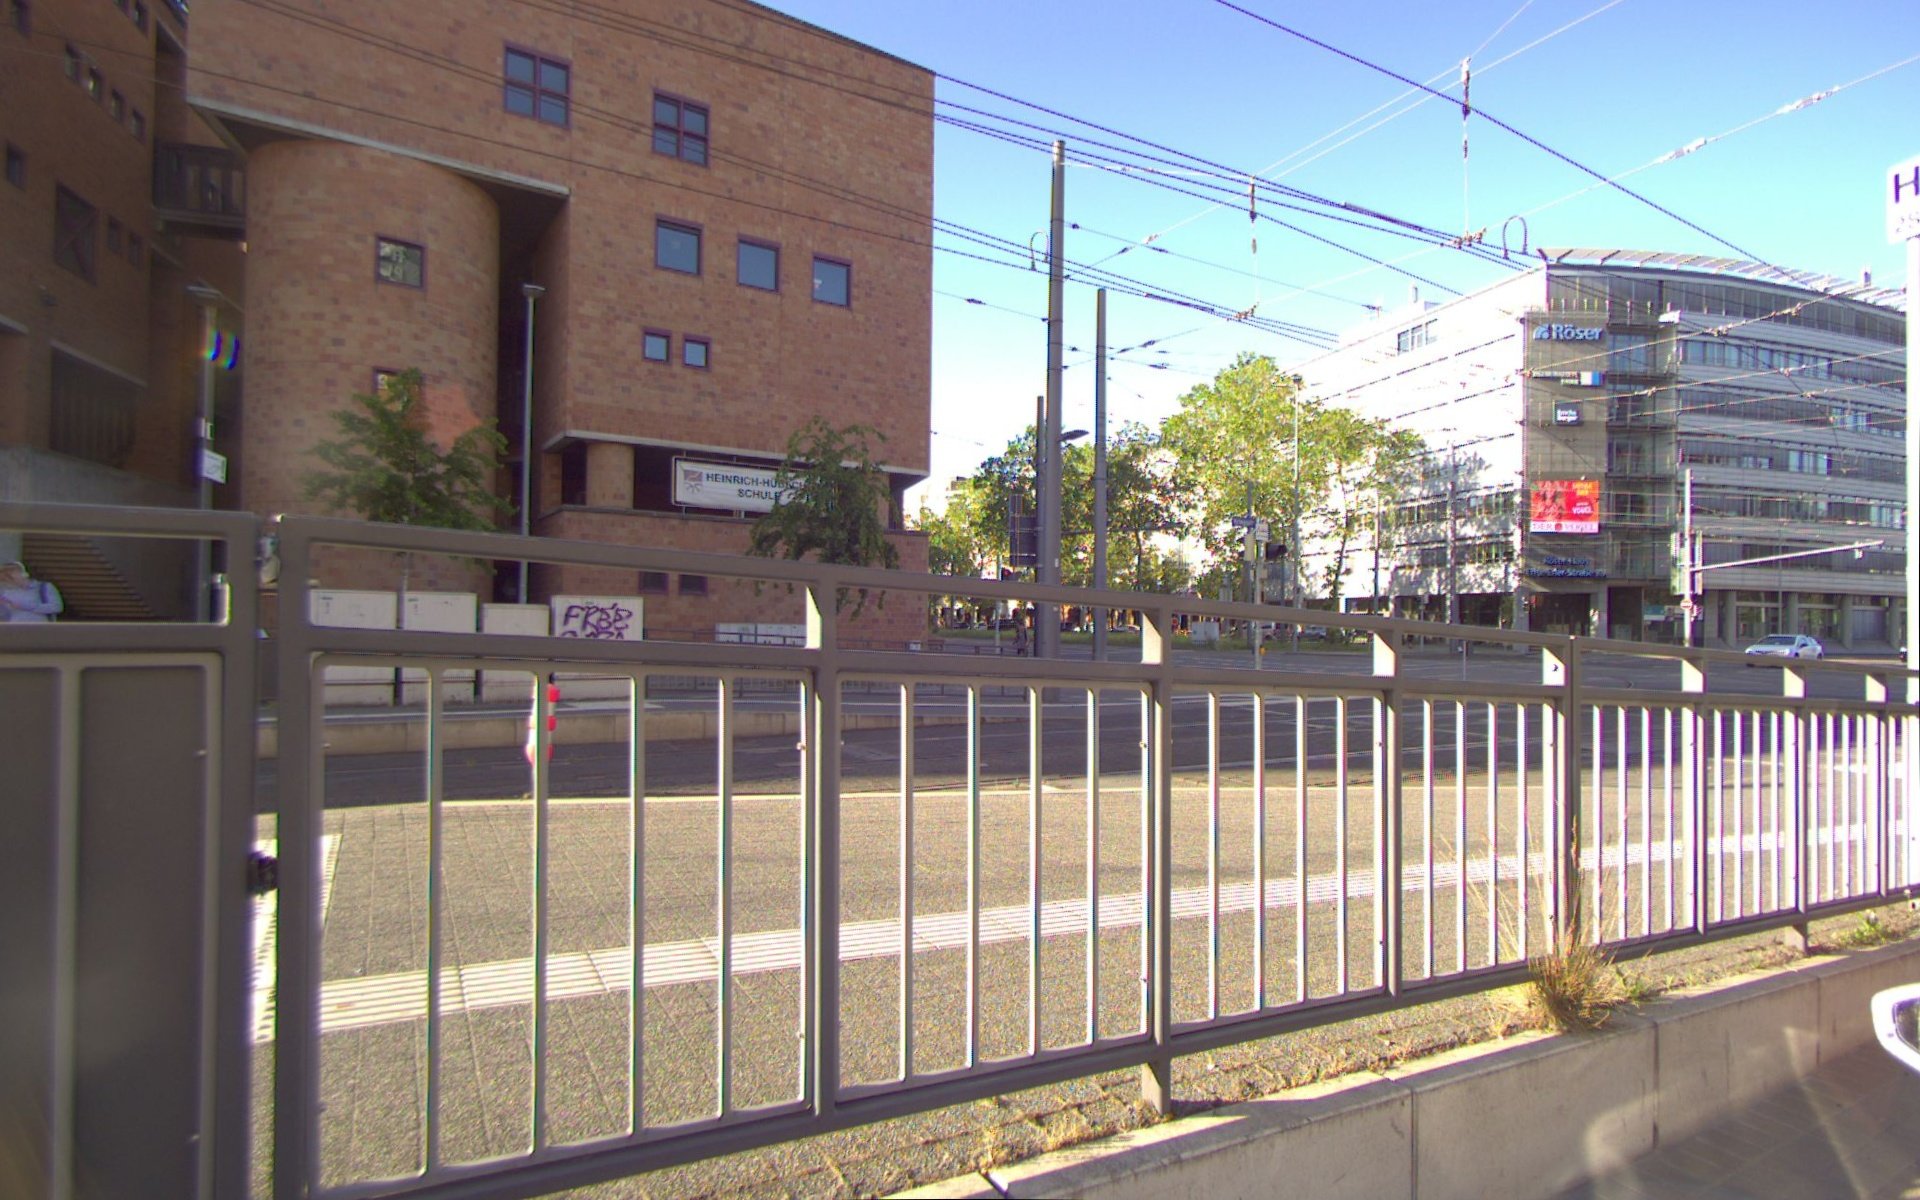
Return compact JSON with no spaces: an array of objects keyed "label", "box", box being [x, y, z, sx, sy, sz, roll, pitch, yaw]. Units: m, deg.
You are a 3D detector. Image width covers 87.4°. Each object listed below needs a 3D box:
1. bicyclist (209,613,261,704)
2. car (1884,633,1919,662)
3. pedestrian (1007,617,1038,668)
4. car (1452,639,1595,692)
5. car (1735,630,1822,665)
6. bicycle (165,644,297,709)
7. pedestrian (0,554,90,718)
[{"label":"bicyclist","box":[-12.816,1.029,17.777,0.642,1.554,0.584,2,0,-30]},{"label":"car","box":[51.760,2.570,53.606,4.175,1.449,1.823,2,0,-19]},{"label":"pedestrian","box":[2.116,1.438,33.963,0.785,1.714,0.587,2,0,-29]},{"label":"car","box":[13.650,1.558,24.399,2.841,1.077,1.238,2,0,40]},{"label":"car","box":[36.267,2.068,44.487,4.484,1.449,1.814,1,-1,-35]},{"label":"bicycle","box":[-12.797,1.332,17.688,1.793,1.104,0.458,2,-3,-30]},{"label":"pedestrian","box":[-9.686,0.371,10.567,0.679,1.656,0.662,2,0,-34]}]
